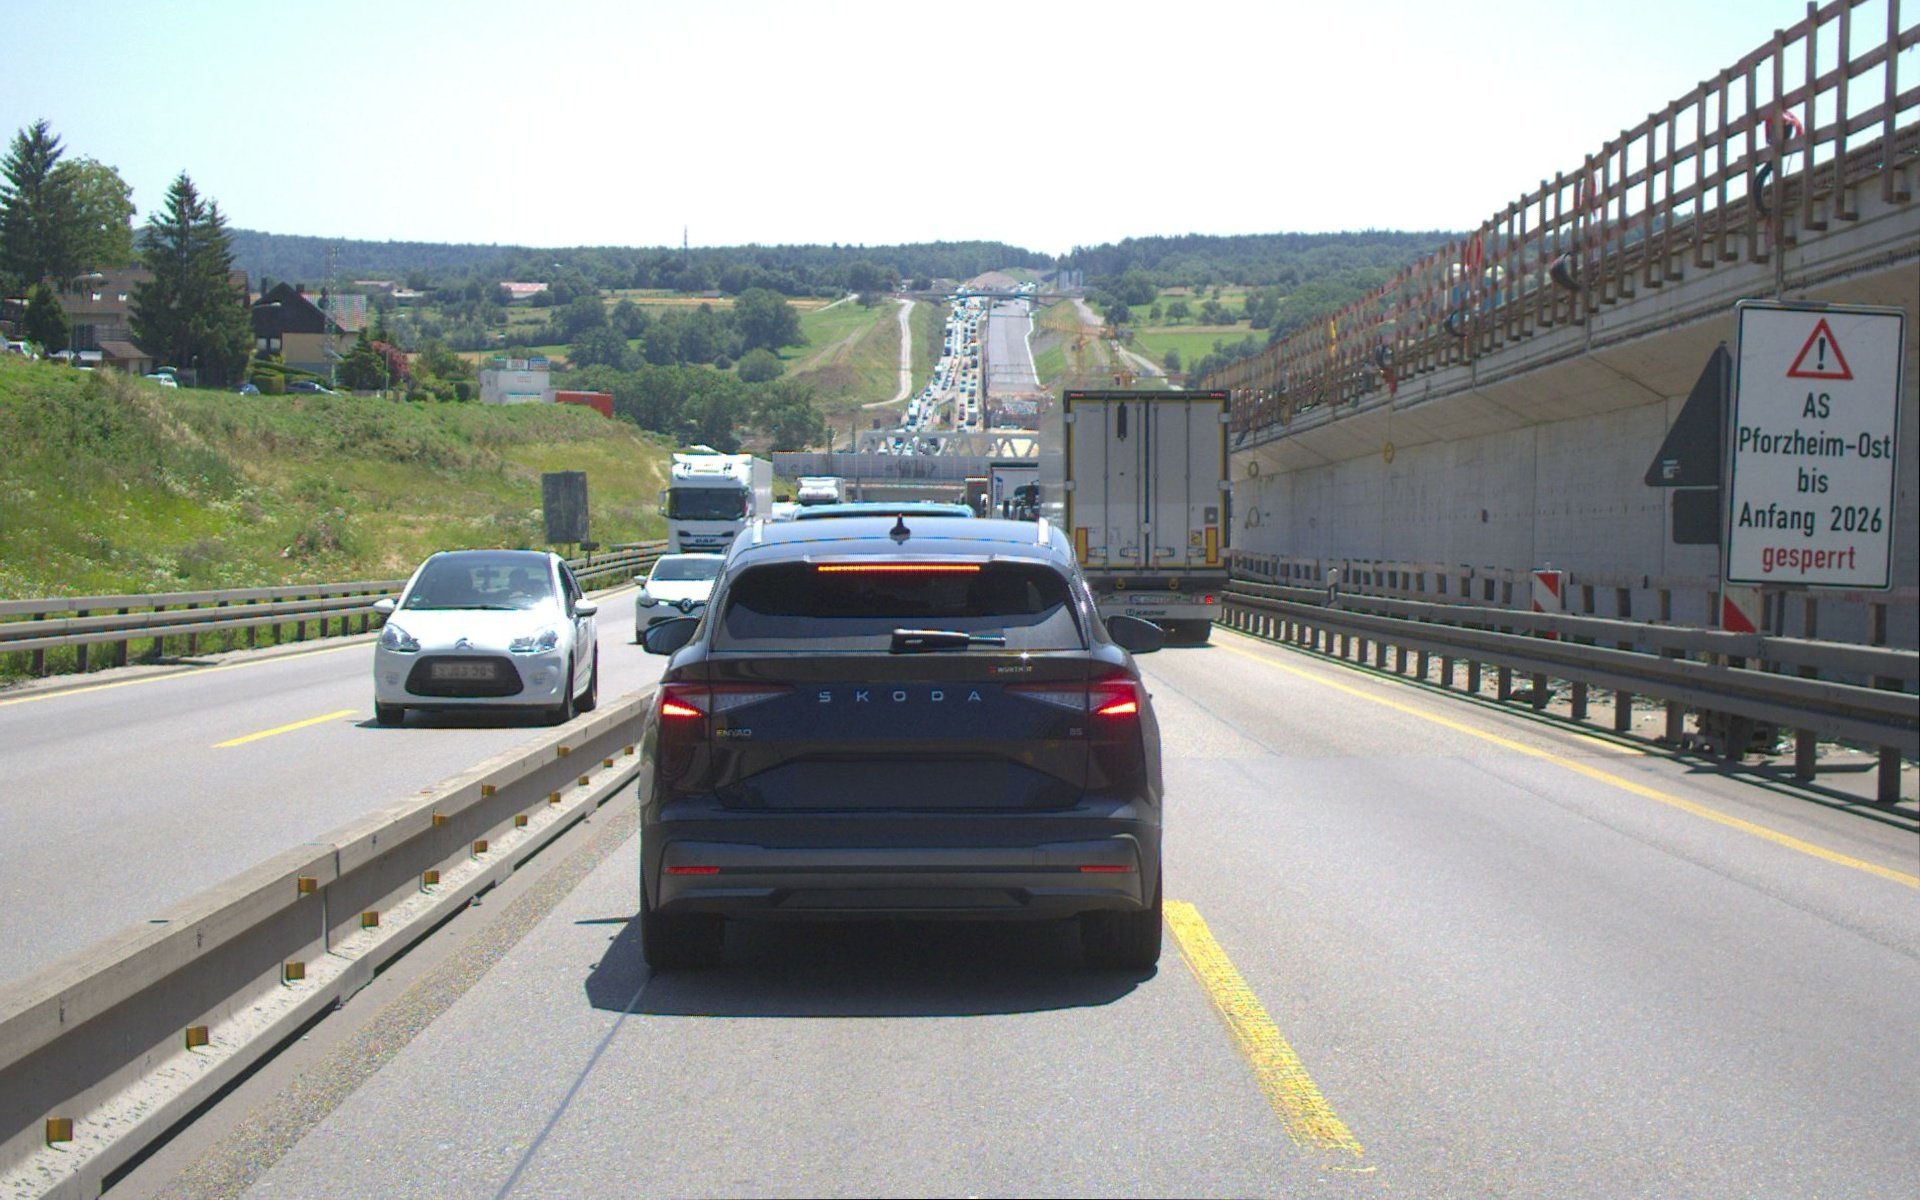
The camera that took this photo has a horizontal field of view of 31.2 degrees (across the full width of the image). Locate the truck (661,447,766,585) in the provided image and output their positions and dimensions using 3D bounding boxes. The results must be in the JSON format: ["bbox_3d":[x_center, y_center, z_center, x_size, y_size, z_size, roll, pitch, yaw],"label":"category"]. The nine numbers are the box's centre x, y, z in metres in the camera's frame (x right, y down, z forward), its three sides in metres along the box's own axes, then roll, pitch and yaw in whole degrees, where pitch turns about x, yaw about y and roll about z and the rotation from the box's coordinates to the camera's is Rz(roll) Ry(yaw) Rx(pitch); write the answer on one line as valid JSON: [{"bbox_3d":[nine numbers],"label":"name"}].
[{"bbox_3d":[-7.860,-2.599,108.986,3.180,4.223,6.486,0,0,-5],"label":"truck"}]

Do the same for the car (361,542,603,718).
[{"bbox_3d":[-4.235,0.219,30.953,1.766,1.481,3.866,0,1,-2],"label":"car"}]

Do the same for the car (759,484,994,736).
[{"bbox_3d":[-0.739,0.055,28.679,1.749,1.889,3.755,3,1,-3],"label":"car"}]

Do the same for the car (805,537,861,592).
[{"bbox_3d":[-4.271,-1.216,116.212,1.775,1.814,4.434,0,1,-1],"label":"car"}]

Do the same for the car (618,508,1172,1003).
[{"bbox_3d":[-0.259,0.481,12.981,1.782,1.592,3.755,0,1,-2],"label":"car"}]

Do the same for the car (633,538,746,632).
[{"bbox_3d":[-4.411,-0.272,56.466,1.691,1.481,3.750,0,1,-2],"label":"car"}]

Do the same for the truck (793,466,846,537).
[{"bbox_3d":[-8.604,-6.037,211.131,2.753,4.212,8.100,1,1,0],"label":"truck"}]

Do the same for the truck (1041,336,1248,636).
[{"bbox_3d":[3.003,-1.776,59.202,2.846,4.599,11.811,1,0,0],"label":"truck"}]
